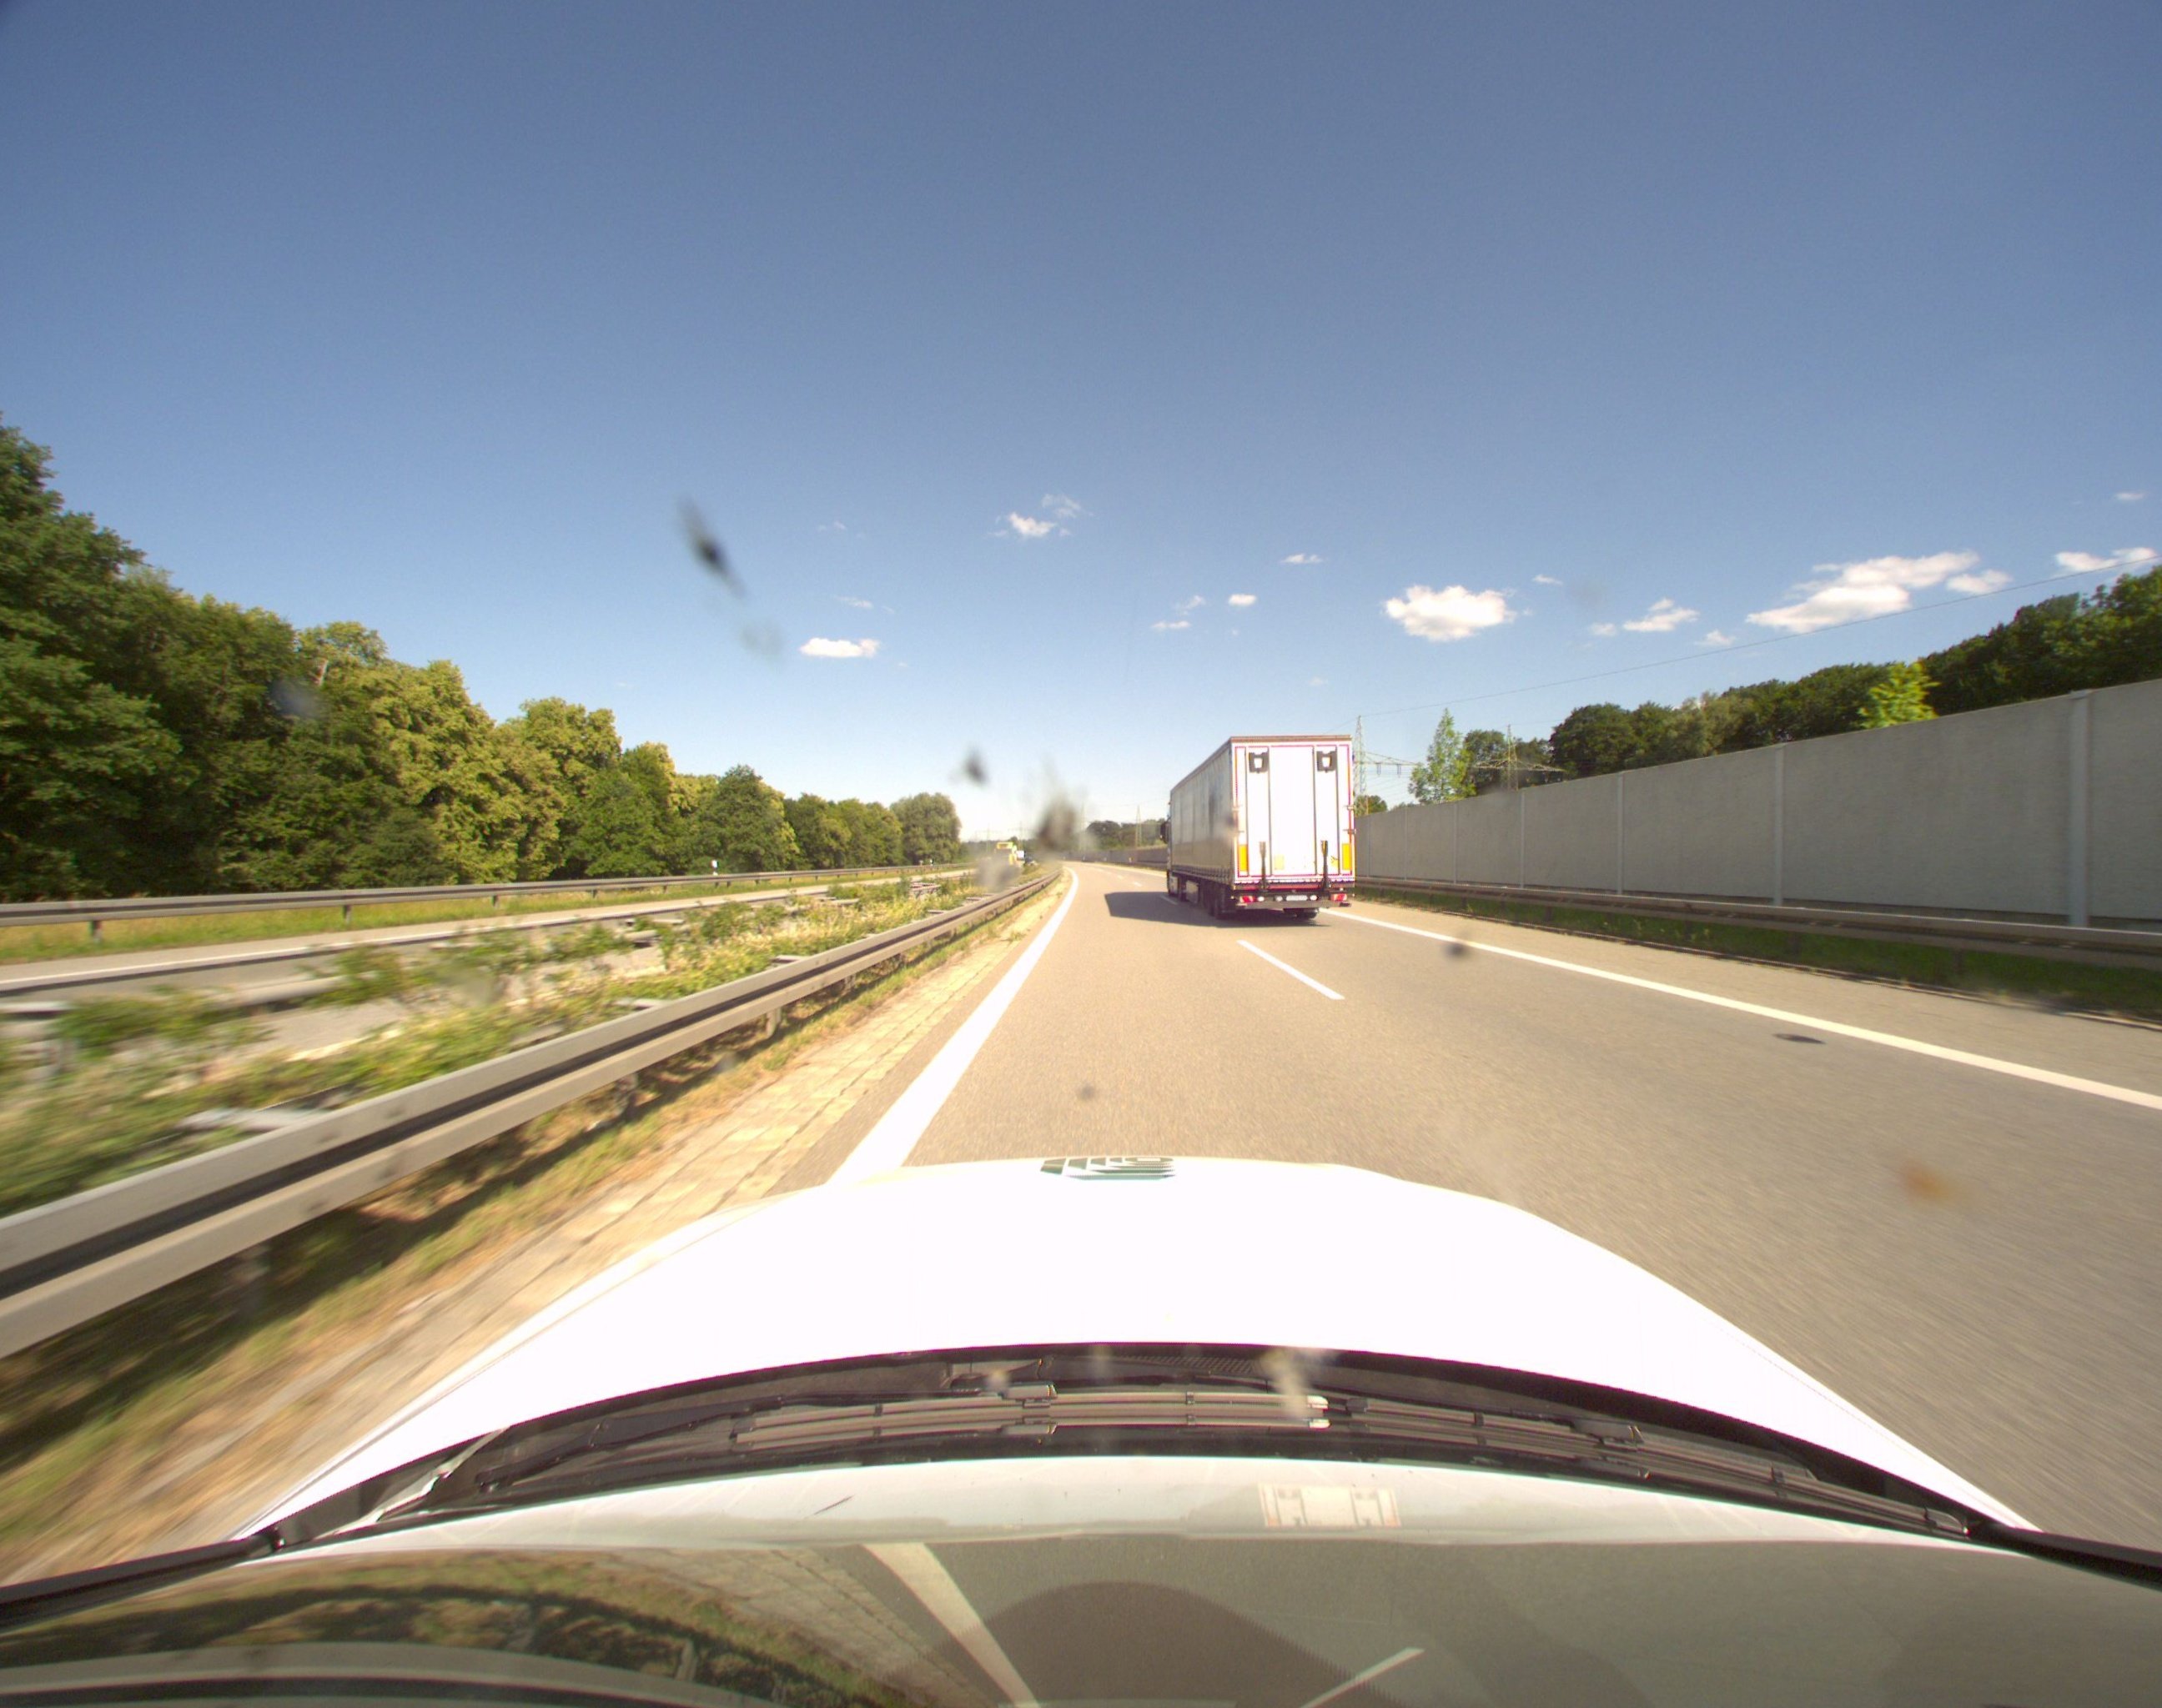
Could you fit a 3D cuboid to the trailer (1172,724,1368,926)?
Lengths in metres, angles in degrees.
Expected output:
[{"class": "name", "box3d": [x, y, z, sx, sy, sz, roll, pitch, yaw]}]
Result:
[{"class": "trailer", "box3d": [4.580, -0.582, 22.926, 2.873, 4.066, 12.425, -2, 0, 2]}]

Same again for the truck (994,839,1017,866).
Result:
[{"class": "truck", "box3d": [-11.575, -0.159, 126.172, 2.751, 3.907, 8.765, -3, 0, -1]}]

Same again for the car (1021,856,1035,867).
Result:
[{"class": "car", "box3d": [-8.457, 1.223, 130.301, 1.988, 1.670, 3.997, -2, 0, -2]}]

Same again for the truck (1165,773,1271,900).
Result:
[{"class": "truck", "box3d": [4.800, -0.565, 29.724, 2.820, 4.012, 6.589, -2, 0, 2]}]
